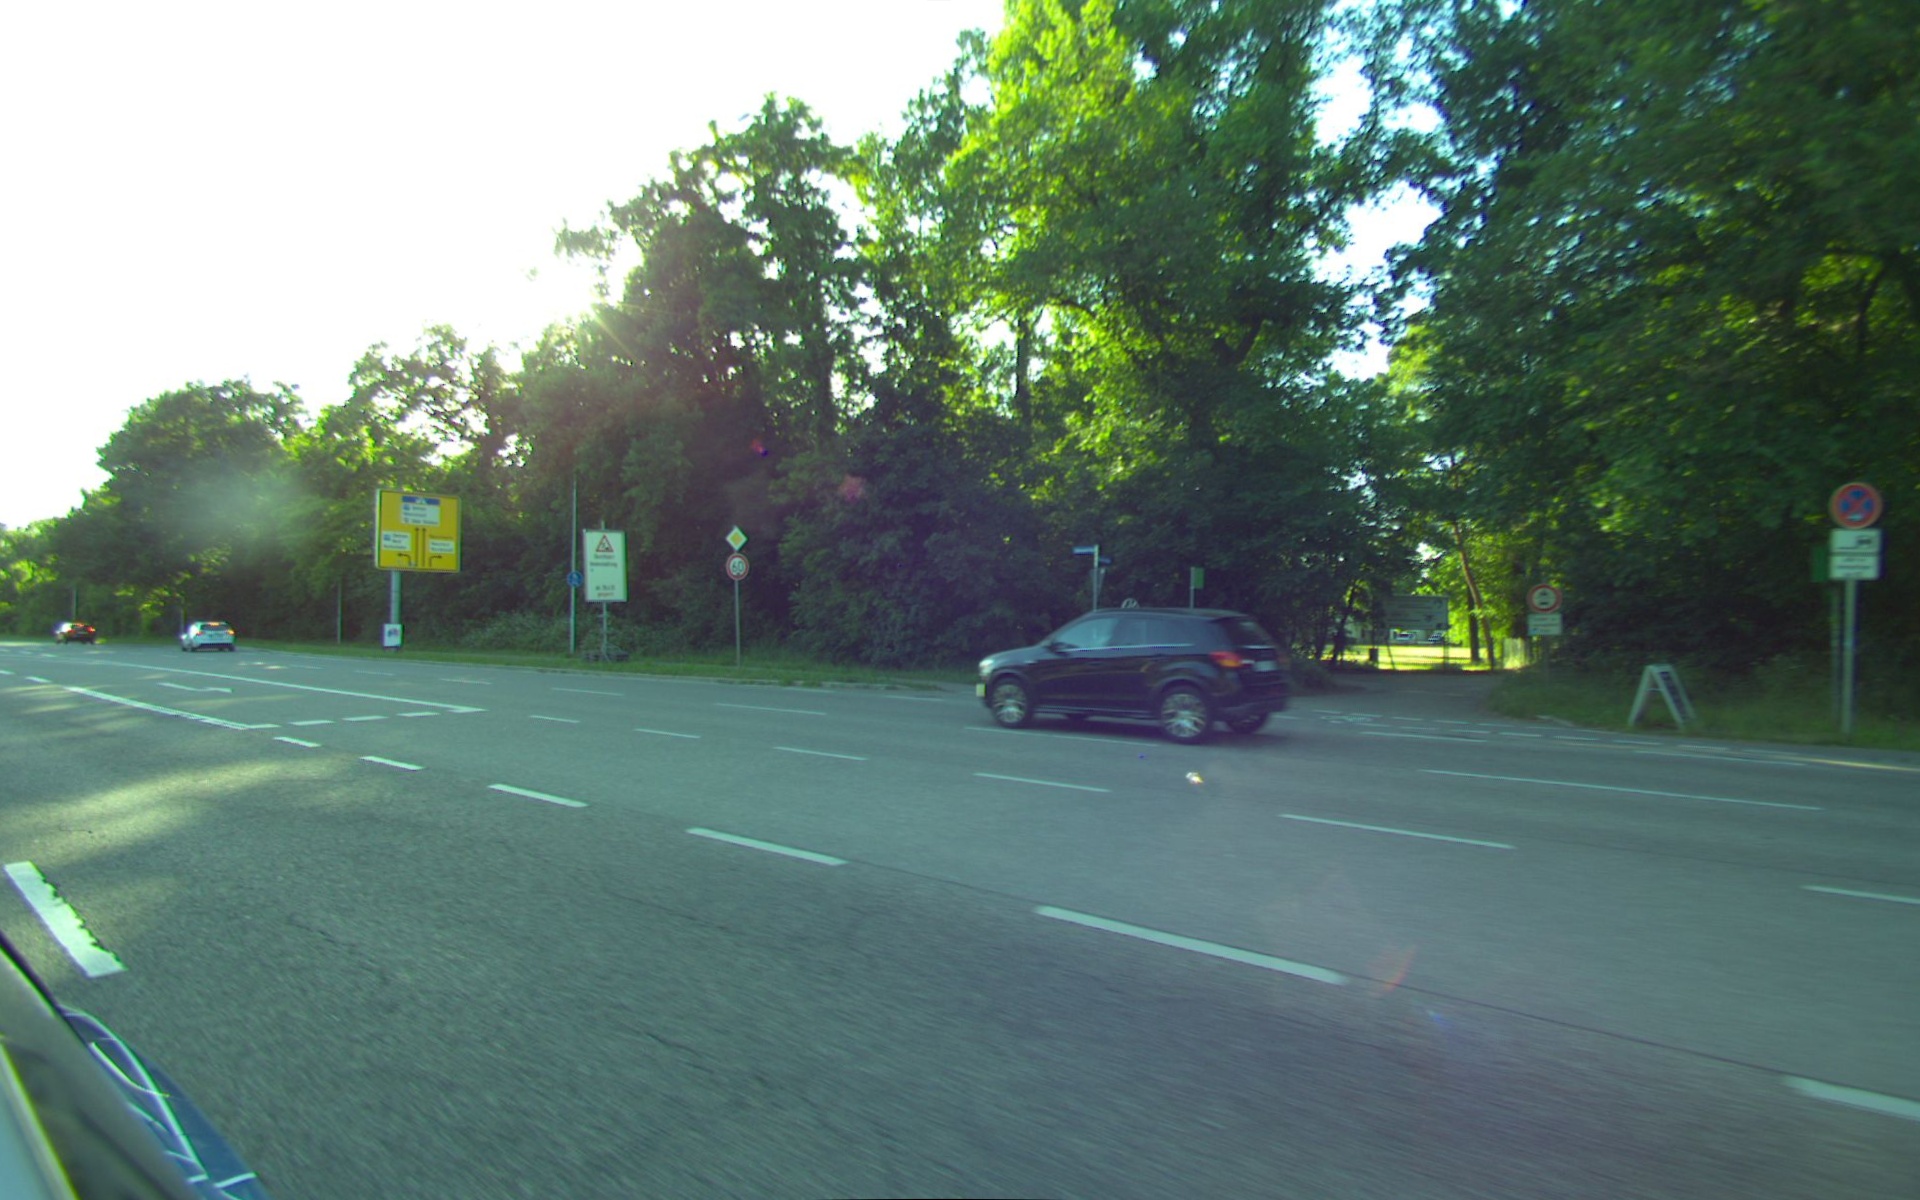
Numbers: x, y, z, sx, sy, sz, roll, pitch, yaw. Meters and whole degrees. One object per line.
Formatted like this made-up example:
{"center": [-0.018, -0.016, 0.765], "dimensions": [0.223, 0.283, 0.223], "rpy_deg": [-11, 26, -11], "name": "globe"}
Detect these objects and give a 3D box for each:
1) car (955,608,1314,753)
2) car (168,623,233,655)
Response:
{"center": [2.155, 0.937, 13.263], "dimensions": [4.349, 1.601, 1.806], "rpy_deg": [-1, -2, 41], "name": "car"}
{"center": [-38.276, 1.928, 50.971], "dimensions": [4.304, 1.515, 1.806], "rpy_deg": [-1, -2, 41], "name": "car"}
